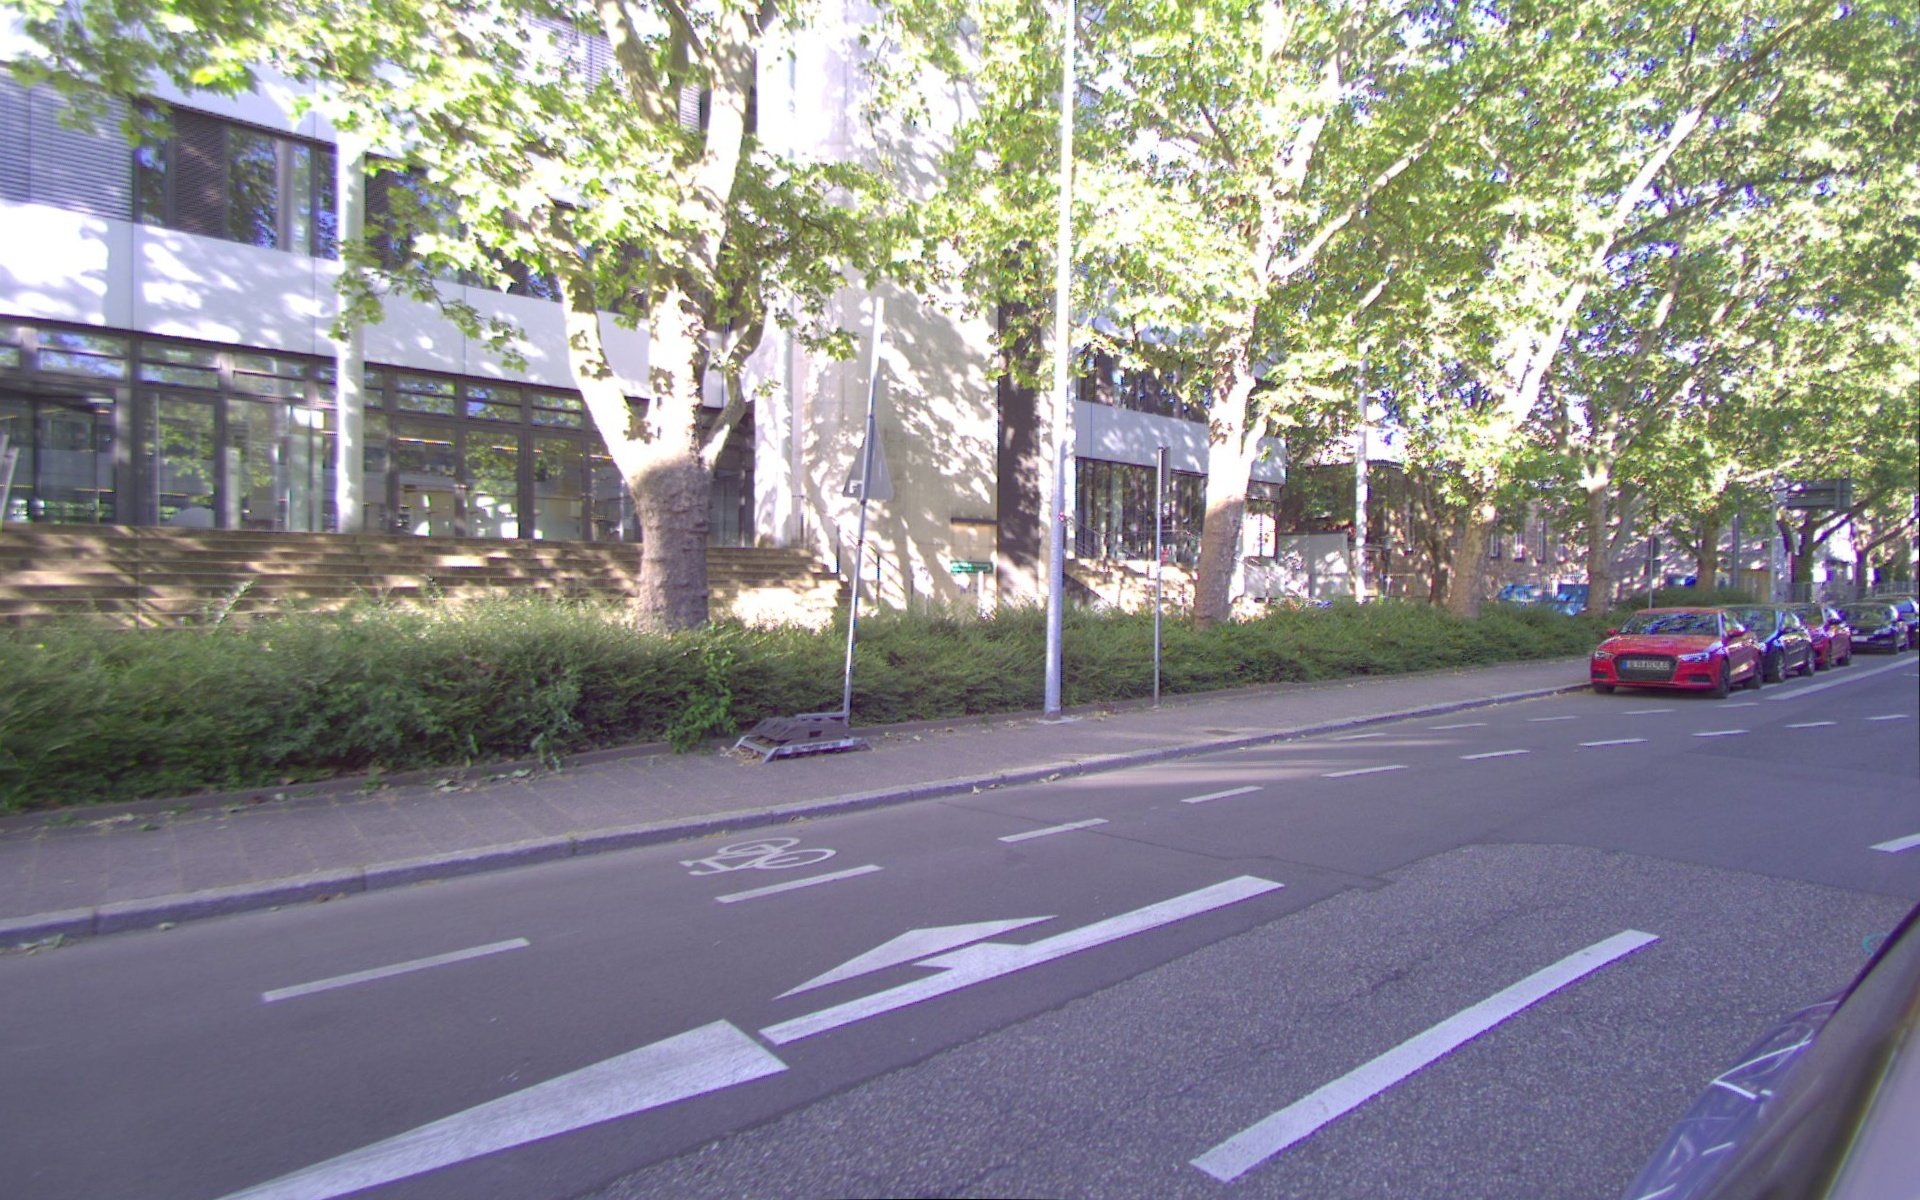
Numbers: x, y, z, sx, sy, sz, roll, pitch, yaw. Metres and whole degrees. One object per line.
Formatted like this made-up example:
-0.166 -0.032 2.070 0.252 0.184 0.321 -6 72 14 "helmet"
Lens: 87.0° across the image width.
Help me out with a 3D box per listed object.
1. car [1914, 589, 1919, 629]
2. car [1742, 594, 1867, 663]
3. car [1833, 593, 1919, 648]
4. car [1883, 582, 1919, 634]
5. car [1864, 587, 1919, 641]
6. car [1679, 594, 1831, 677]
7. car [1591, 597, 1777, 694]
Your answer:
39.659 0.370 40.611 3.801 1.581 1.684 0 1 -41 "car"
19.575 0.590 23.411 3.716 1.452 1.664 0 1 -41 "car"
26.973 0.550 29.576 3.931 1.469 1.684 0 1 -41 "car"
34.924 0.263 36.590 4.354 1.790 1.818 0 1 -41 "car"
30.472 0.409 32.532 3.770 1.639 1.684 0 1 -41 "car"
15.776 0.630 20.014 3.931 1.485 1.684 0 0 -41 "car"
12.213 0.691 16.984 3.962 1.439 1.722 0 -1 -42 "car"
